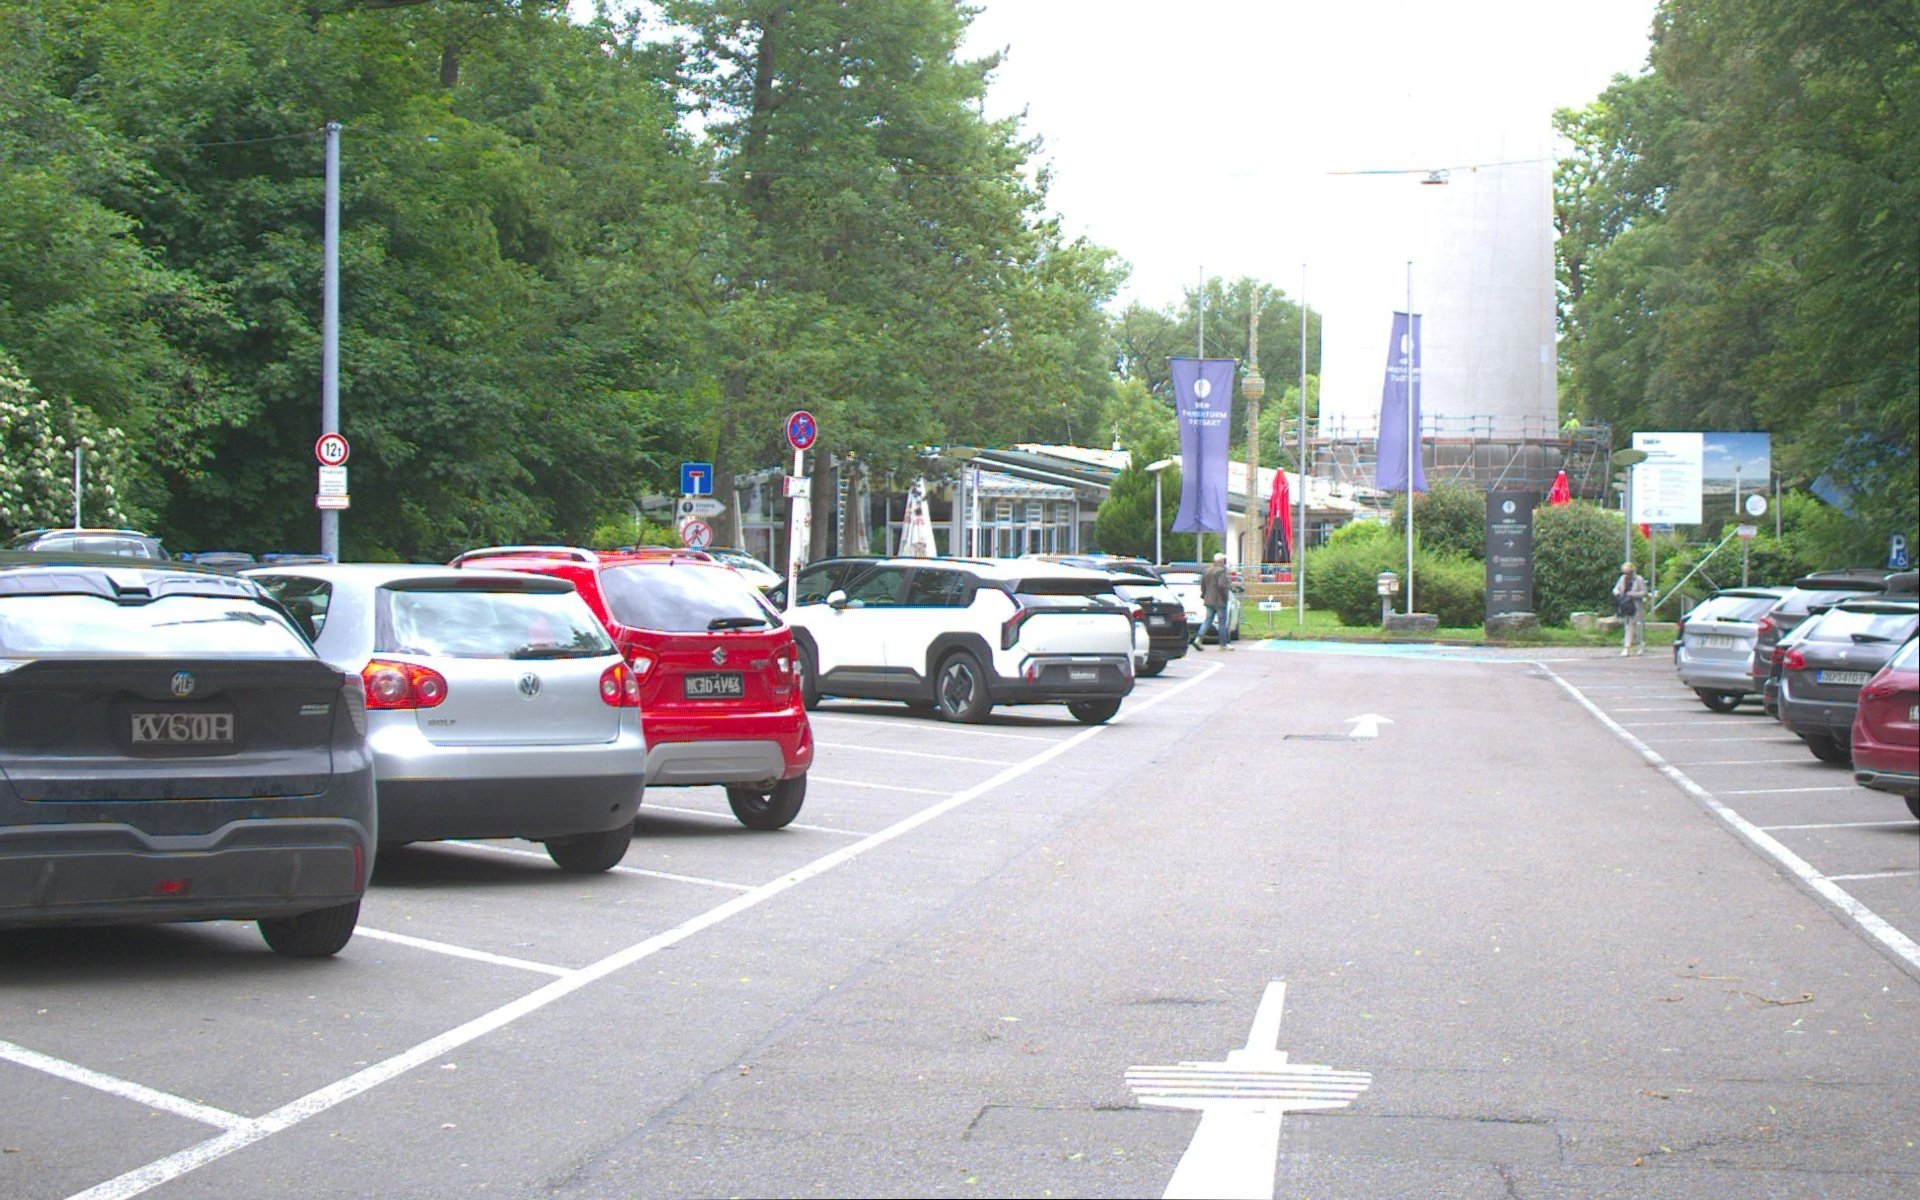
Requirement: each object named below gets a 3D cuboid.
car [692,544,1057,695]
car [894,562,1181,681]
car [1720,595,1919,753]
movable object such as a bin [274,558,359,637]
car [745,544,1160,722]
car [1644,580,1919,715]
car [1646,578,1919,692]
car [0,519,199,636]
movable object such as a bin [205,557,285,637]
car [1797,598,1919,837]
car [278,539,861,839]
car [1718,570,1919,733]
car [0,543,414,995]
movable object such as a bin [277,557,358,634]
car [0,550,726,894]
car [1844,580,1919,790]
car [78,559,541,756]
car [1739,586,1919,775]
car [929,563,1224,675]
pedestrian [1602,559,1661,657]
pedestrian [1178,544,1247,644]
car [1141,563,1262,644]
[{"bbox_3d":[-1.003,0.183,38.490,1.868,1.549,3.998,0,1,-44],"label":"car"},{"bbox_3d":[0.975,0.264,45.174,1.767,1.438,3.845,1,1,-36],"label":"car"},{"bbox_3d":[9.446,0.680,32.946,4.250,1.373,1.965,1,1,-39],"label":"car"},{"bbox_3d":[-10.889,-0.041,58.138,1.168,1.303,1.314,1,1,-21],"label":"movable object such as a bin"},{"bbox_3d":[-0.136,0.280,33.881,1.841,1.591,4.189,0,1,-39],"label":"car"},{"bbox_3d":[10.074,0.533,39.951,3.987,1.462,1.835,0,1,-32],"label":"car"},{"bbox_3d":[11.598,0.481,47.240,4.191,1.457,1.899,1,1,-36],"label":"car"},{"bbox_3d":[-13.650,-0.346,51.266,4.059,1.679,1.880,1,1,-35],"label":"car"},{"bbox_3d":[-12.008,-0.048,57.721,1.123,1.310,1.185,1,0,-21],"label":"movable object such as a bin"},{"bbox_3d":[7.532,0.742,21.669,4.282,1.409,1.928,1,1,-32],"label":"car"},{"bbox_3d":[-2.384,0.455,20.340,1.682,1.580,3.653,1,1,-40],"label":"car"},{"bbox_3d":[10.364,0.531,37.023,4.249,1.631,1.965,1,1,-37],"label":"car"},{"bbox_3d":[-3.890,0.538,13.555,1.825,1.518,4.100,1,0,-34],"label":"car"},{"bbox_3d":[-11.334,-0.083,60.673,1.253,1.320,1.146,1,0,-4],"label":"movable object such as a bin"},{"bbox_3d":[-3.113,0.525,17.211,1.871,1.478,3.999,1,0,-39],"label":"car"},{"bbox_3d":[8.500,0.636,25.667,3.571,1.499,1.735,1,1,-35],"label":"car"},{"bbox_3d":[-5.406,0.417,28.192,1.864,1.437,4.315,1,1,-40],"label":"car"},{"bbox_3d":[8.687,0.647,29.015,4.174,1.452,1.804,1,1,-36],"label":"car"},{"bbox_3d":[1.583,0.239,48.226,1.754,1.438,4.277,1,1,-39],"label":"car"},{"bbox_3d":[11.895,0.138,60.905,0.763,1.719,0.895,2,1,28],"label":"pedestrian"},{"bbox_3d":[4.403,-0.102,59.975,0.894,1.719,0.764,1,1,-26],"label":"pedestrian"},{"bbox_3d":[4.587,0.044,64.751,1.894,1.423,3.999,1,1,9],"label":"car"}]
